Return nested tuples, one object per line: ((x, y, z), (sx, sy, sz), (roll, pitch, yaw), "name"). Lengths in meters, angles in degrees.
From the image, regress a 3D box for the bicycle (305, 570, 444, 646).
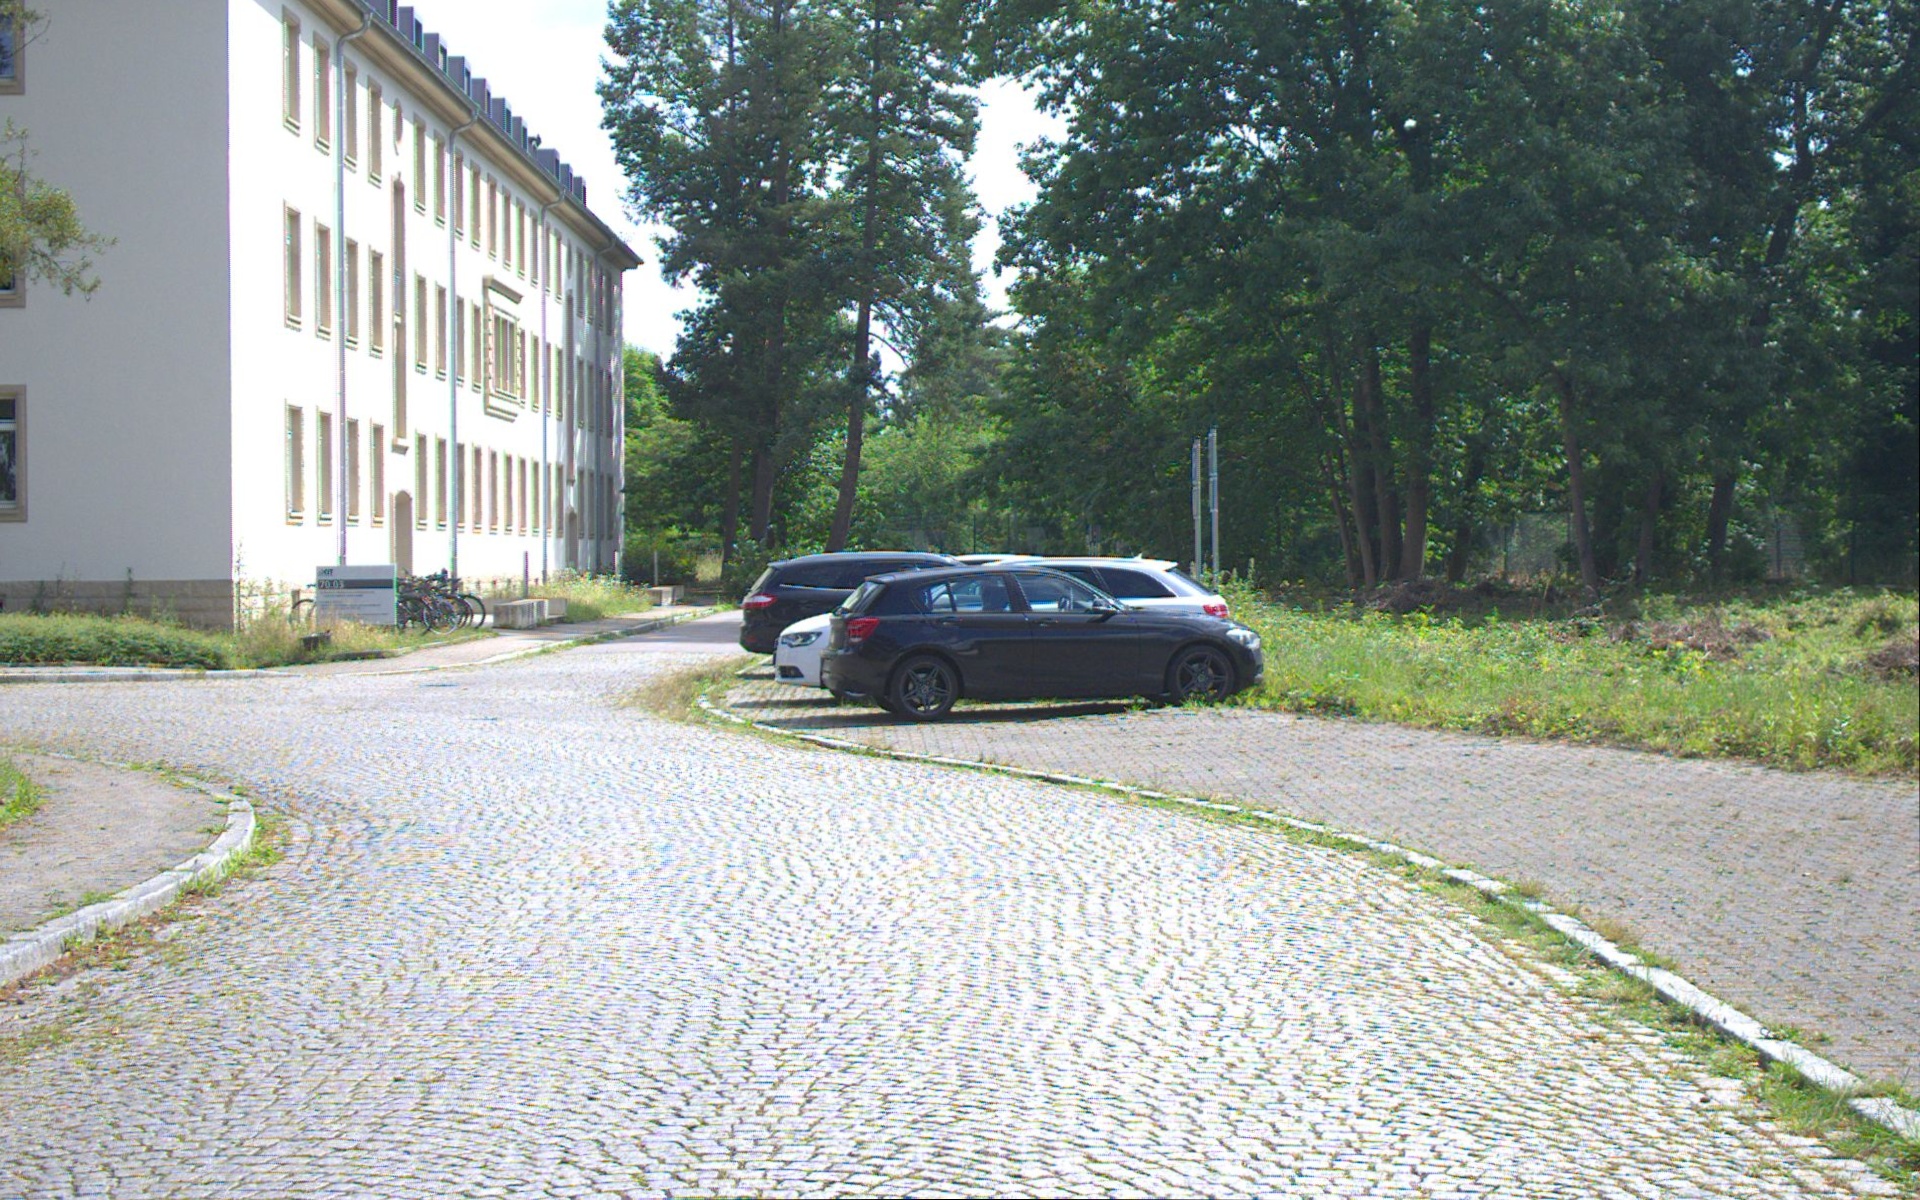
((-9.919, 0.134, 58.291), (2.222, 1.256, 0.623), (0, 0, 6), "bicycle")

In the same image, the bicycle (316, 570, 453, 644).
((-9.891, 0.115, 59.135), (2.222, 1.256, 0.623), (-1, 0, 2), "bicycle")

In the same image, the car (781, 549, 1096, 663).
((-0.330, 0.079, 49.296), (4.398, 1.479, 1.766), (-2, 0, -2), "car")

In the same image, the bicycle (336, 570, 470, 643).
((-9.722, 0.114, 60.031), (2.222, 1.256, 0.623), (0, 0, 6), "bicycle")

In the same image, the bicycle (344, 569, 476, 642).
((-9.737, 0.095, 60.875), (2.222, 1.256, 0.623), (-1, 0, 2), "bicycle")

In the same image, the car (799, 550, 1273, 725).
((0.695, 0.337, 33.378), (4.323, 1.495, 1.830), (-2, 2, -8), "car")

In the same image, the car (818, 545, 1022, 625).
((-0.812, -0.309, 72.053), (4.187, 1.538, 1.820), (-2, 0, 2), "car")

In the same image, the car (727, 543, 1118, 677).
((-0.496, 0.124, 43.924), (4.852, 1.547, 1.880), (-2, 0, -2), "car")

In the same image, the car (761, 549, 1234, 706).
((0.366, 0.271, 36.573), (4.861, 1.467, 1.875), (-2, 2, -2), "car")
